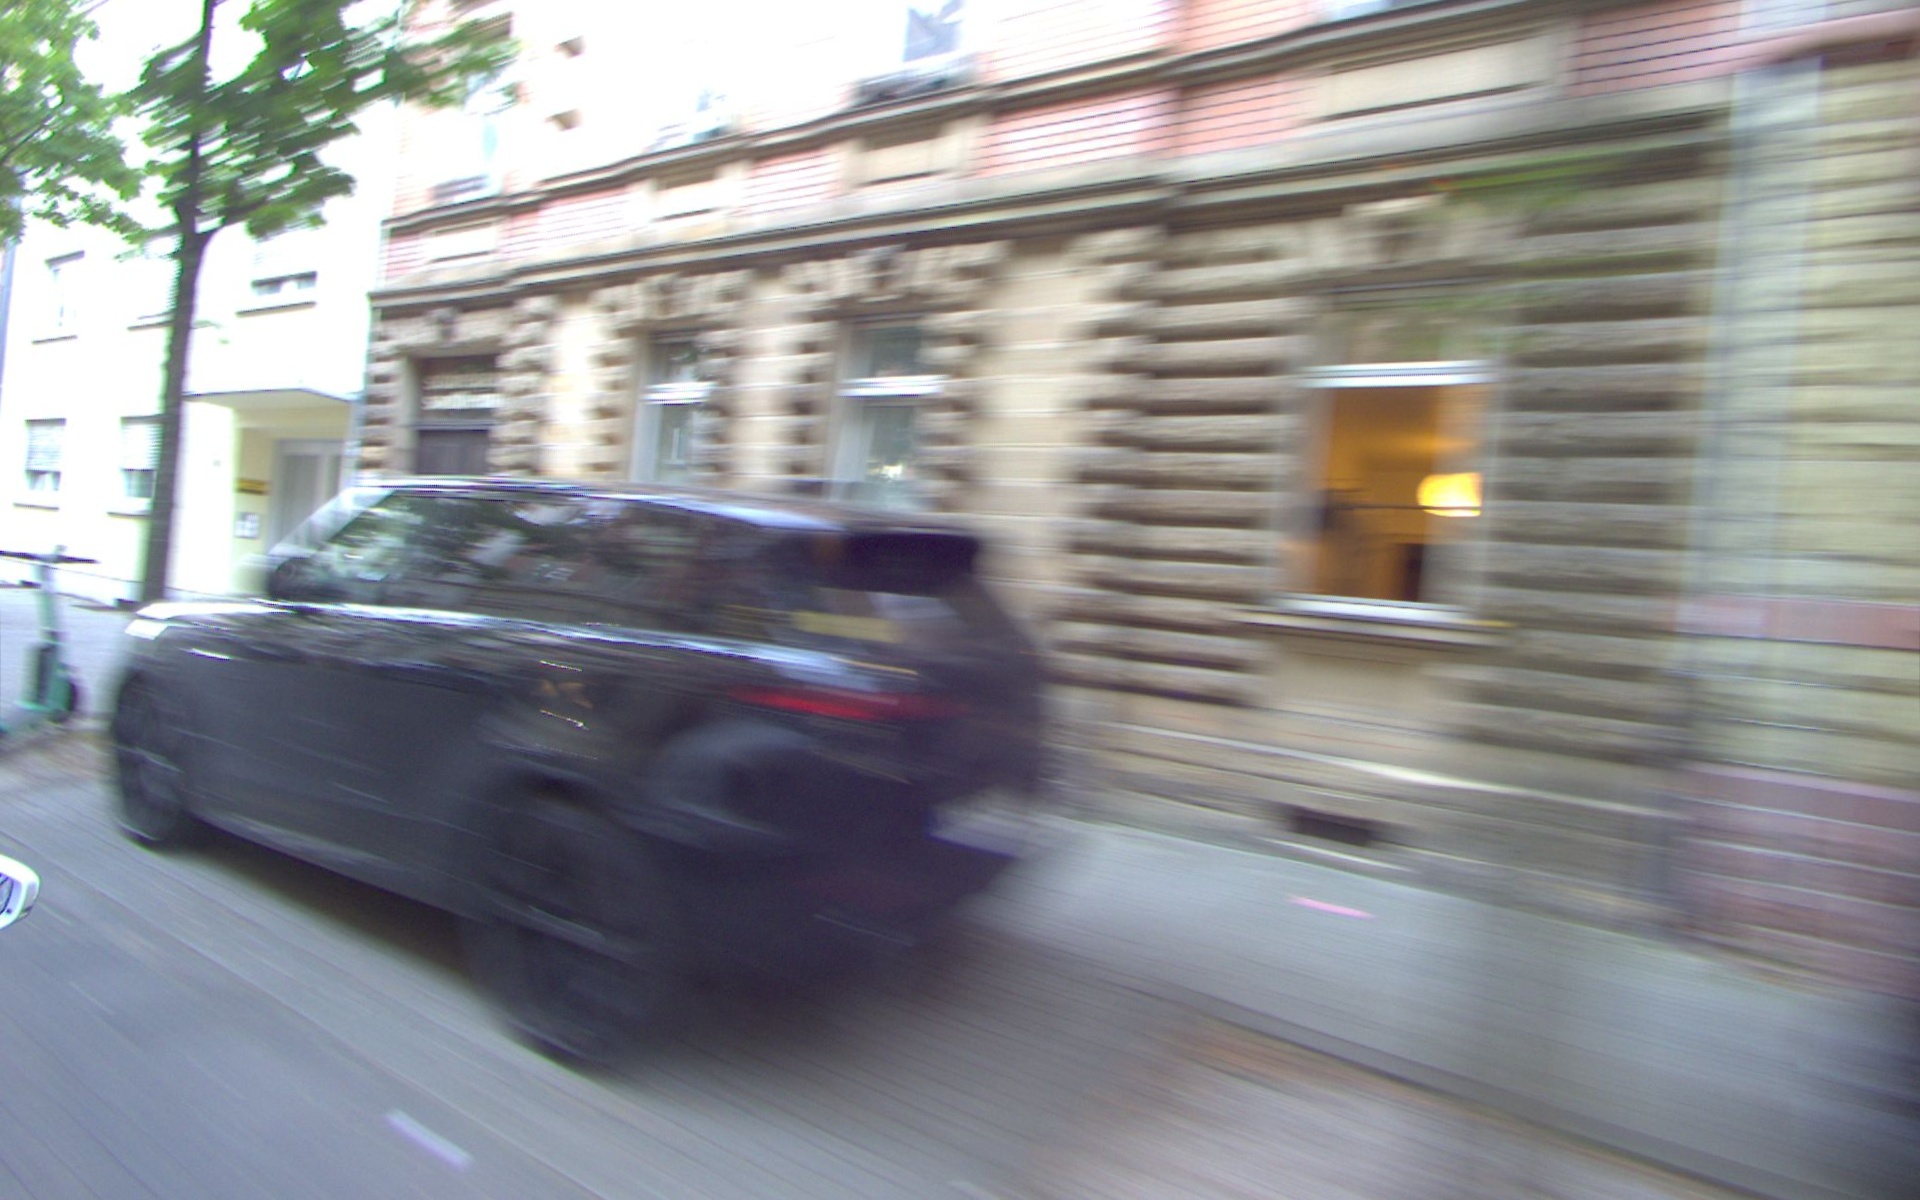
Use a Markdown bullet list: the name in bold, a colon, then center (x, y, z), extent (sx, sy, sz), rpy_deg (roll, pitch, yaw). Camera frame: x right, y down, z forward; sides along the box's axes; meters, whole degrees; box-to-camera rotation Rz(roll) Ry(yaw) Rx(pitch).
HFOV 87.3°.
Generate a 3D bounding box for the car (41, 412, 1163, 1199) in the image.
- **car**: center (-1.791, 0.344, 4.408), extent (4.731, 1.857, 2.014), rpy_deg (6, 1, 31)

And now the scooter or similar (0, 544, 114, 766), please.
- **scooter or similar**: center (-5.722, 0.279, 5.968), extent (0.665, 1.206, 1.111), rpy_deg (4, 1, -19)

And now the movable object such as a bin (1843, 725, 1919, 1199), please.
- **movable object such as a bin**: center (2.729, 1.069, 2.229), extent (0.758, 1.322, 2.214), rpy_deg (6, 2, 34)
